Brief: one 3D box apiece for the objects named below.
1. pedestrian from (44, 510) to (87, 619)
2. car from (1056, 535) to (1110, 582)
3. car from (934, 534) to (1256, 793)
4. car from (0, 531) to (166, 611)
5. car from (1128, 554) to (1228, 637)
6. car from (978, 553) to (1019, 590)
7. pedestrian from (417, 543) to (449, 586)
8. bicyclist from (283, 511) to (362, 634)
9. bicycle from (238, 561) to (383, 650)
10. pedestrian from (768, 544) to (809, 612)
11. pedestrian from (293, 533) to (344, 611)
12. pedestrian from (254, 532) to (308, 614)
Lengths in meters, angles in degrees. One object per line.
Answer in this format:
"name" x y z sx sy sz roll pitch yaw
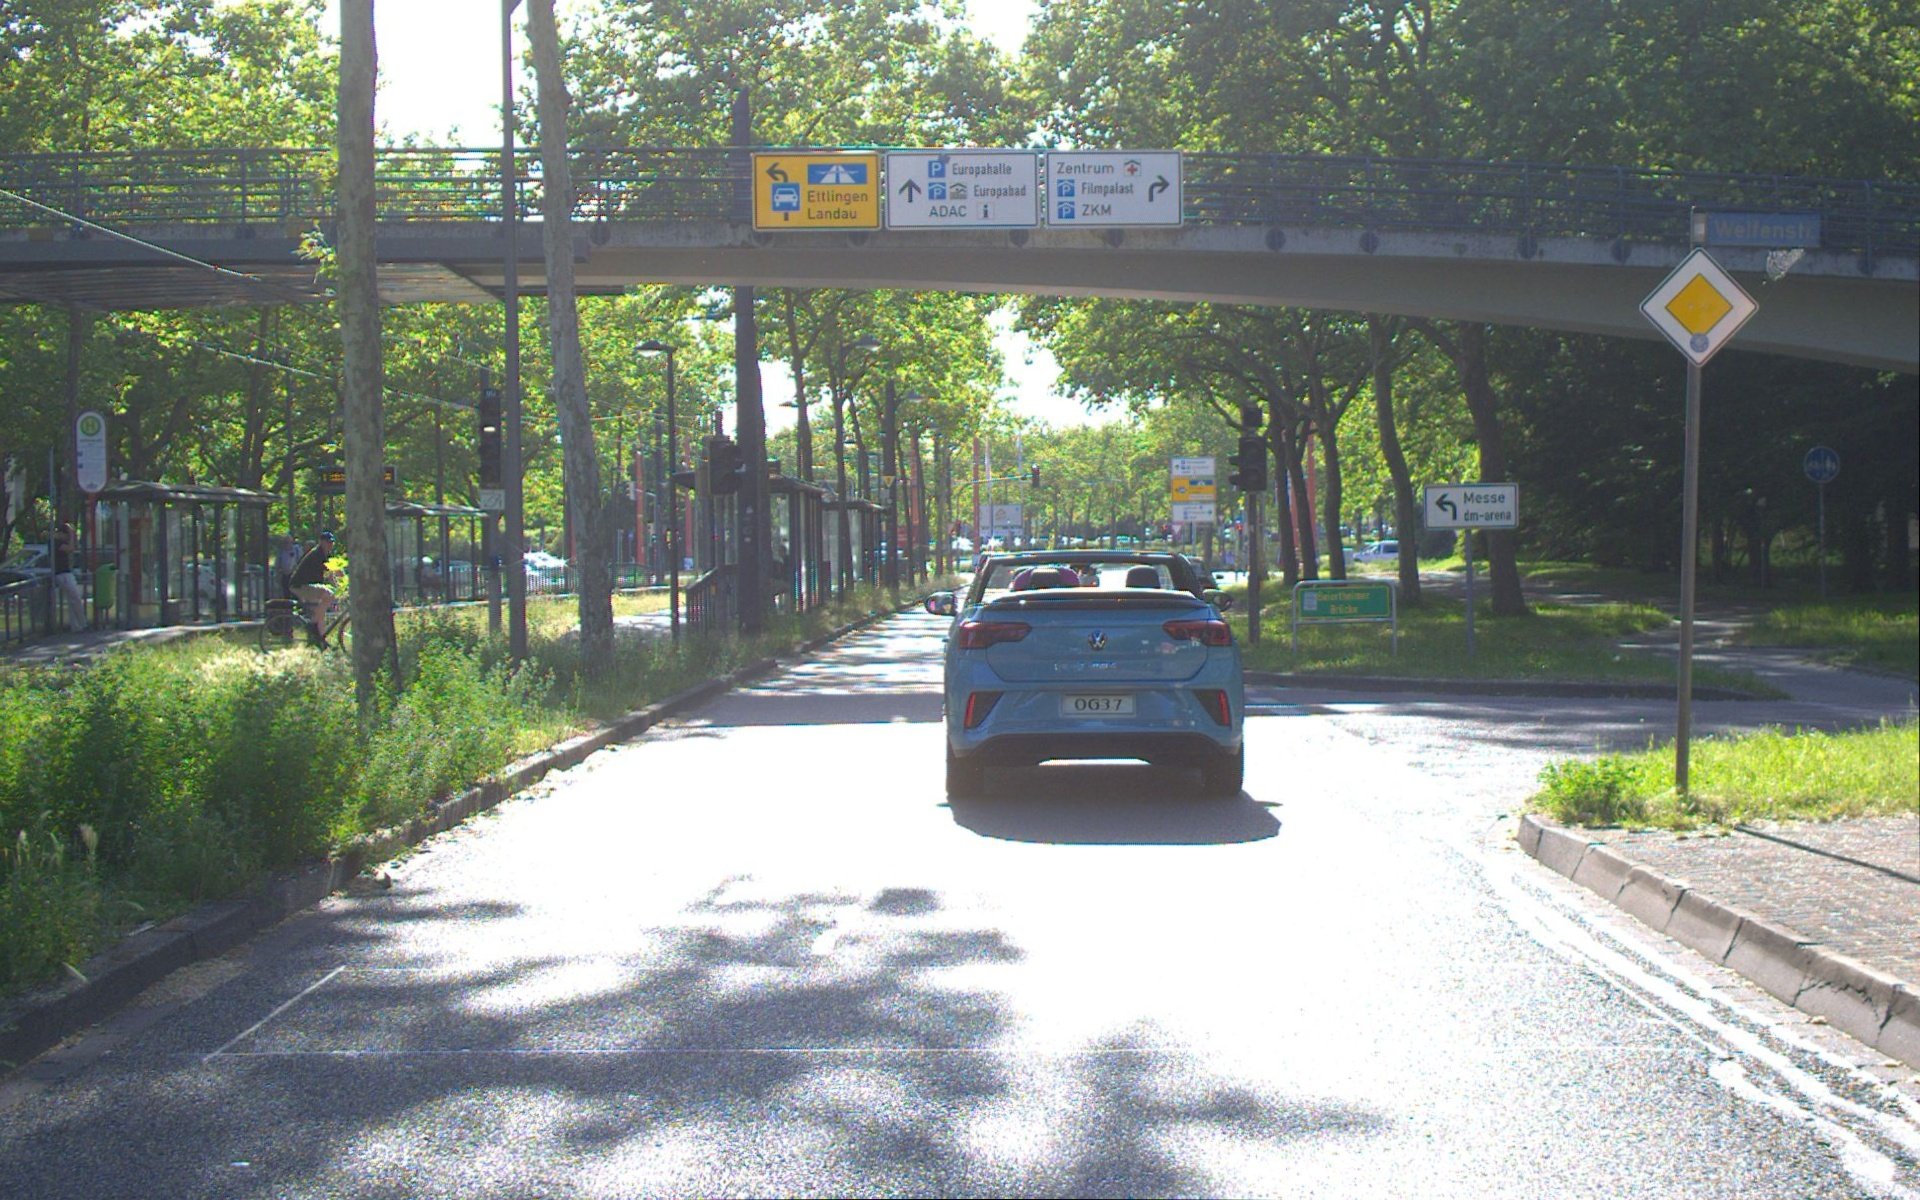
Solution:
"pedestrian" -14.562 -0.582 55.966 0.502 1.764 0.484 0 0 -40
"car" 4.020 -1.369 112.949 1.639 1.489 3.503 1 1 0
"car" 0.759 0.326 21.706 1.776 1.478 4.100 0 1 -1
"car" -23.695 -0.766 91.686 4.486 2.056 1.900 0 2 -37
"car" 4.811 -0.120 76.424 1.982 1.786 4.614 0 0 1
"car" 1.653 -1.233 148.713 1.710 1.598 3.350 0 0 0
"pedestrian" -14.144 -0.947 92.288 0.694 1.123 0.662 -3 0 2
"bicyclist" -8.644 -0.383 46.628 0.953 1.626 0.815 1 1 -5
"bicycle" -8.799 0.074 46.623 1.830 1.143 0.815 1 1 -5
"pedestrian" -3.190 -0.415 63.870 0.733 1.248 0.588 1 0 -5
"pedestrian" -12.676 -0.550 67.951 0.683 1.508 0.643 -2 1 26
"pedestrian" -13.622 -0.546 68.957 0.715 1.629 0.730 -1 0 39
